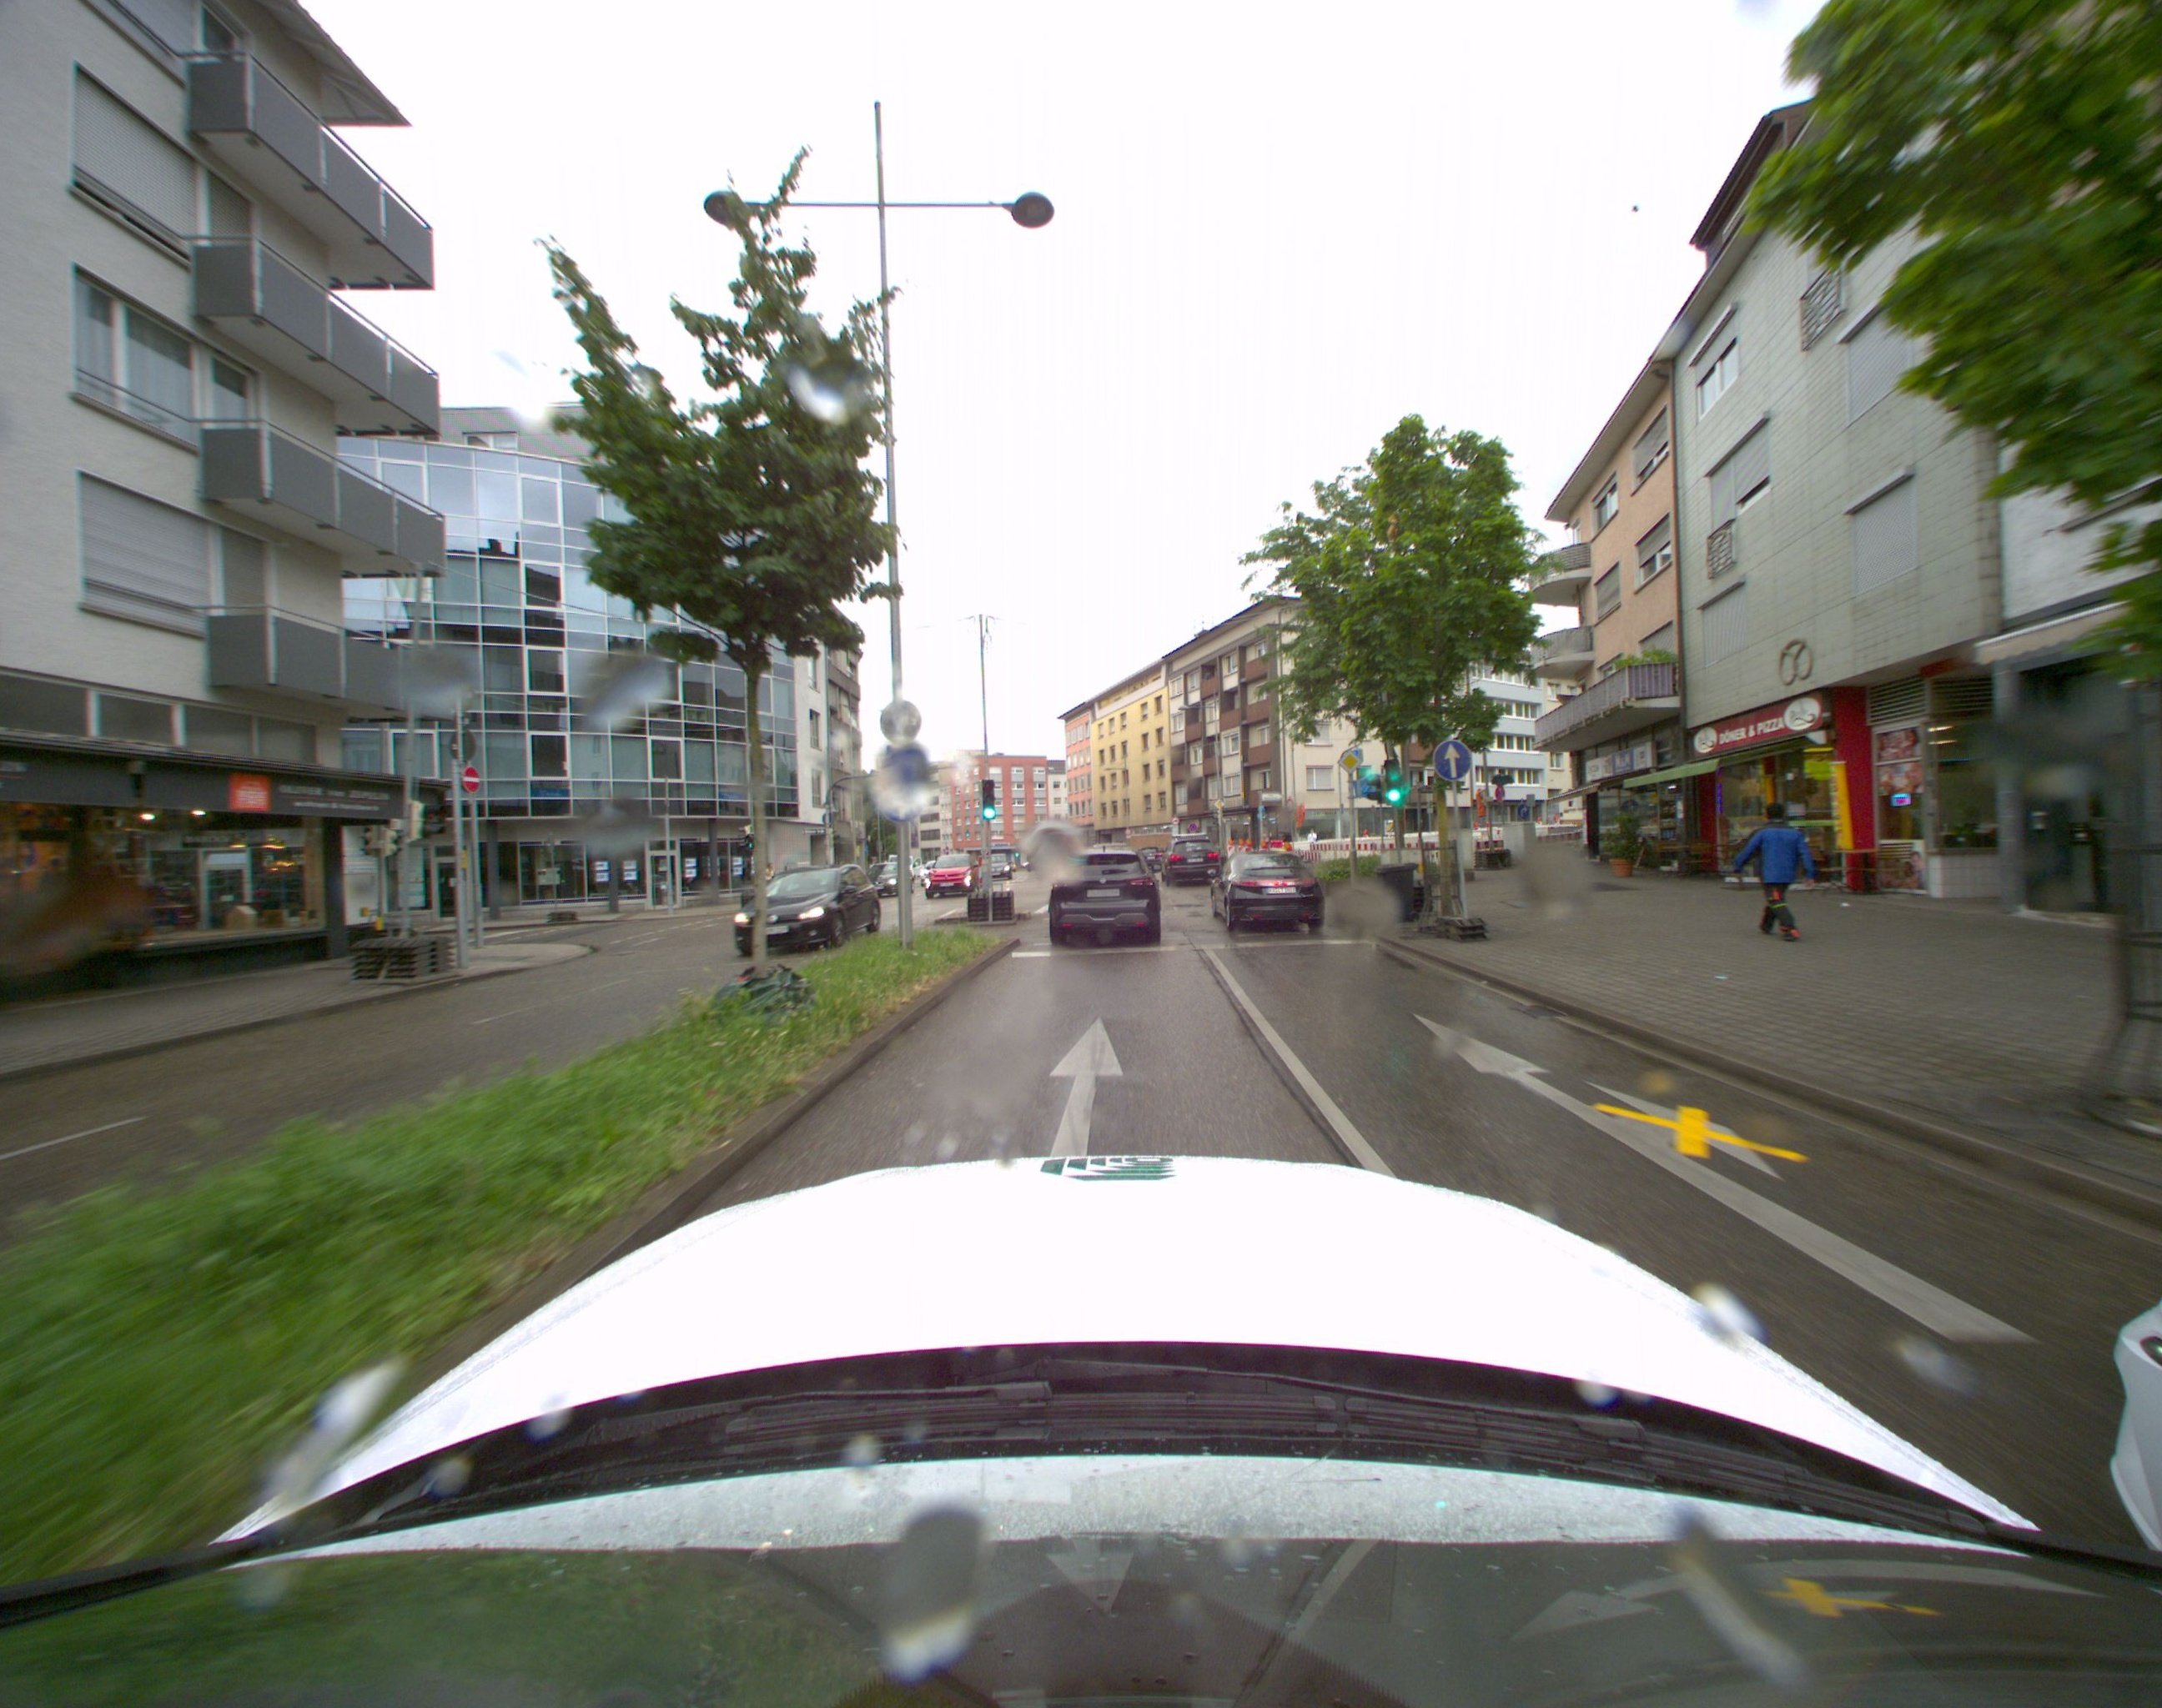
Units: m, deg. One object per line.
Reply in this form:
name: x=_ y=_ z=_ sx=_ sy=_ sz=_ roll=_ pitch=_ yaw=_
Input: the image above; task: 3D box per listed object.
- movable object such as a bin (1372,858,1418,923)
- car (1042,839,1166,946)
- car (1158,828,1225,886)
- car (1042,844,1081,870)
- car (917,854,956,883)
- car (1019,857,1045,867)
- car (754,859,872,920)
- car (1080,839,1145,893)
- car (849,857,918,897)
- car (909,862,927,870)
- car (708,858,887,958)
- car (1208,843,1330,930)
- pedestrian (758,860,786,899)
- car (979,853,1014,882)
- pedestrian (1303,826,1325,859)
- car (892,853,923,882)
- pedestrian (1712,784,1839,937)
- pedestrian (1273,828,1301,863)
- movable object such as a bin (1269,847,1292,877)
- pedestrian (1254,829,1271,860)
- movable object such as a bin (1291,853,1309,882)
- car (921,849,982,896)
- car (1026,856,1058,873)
movable object such as a bin: x=5.786 y=0.656 z=15.018 sx=0.575 sy=1.111 sz=0.667 roll=-4 pitch=1 yaw=6
car: x=0.427 y=0.590 z=14.636 sx=1.887 sy=1.629 sz=4.002 roll=-1 pitch=0 yaw=2
car: x=3.995 y=0.050 z=30.176 sx=2.012 sy=1.869 sz=4.904 roll=-2 pitch=1 yaw=3
car: x=-1.171 y=0.181 z=46.848 sx=1.990 sy=1.388 sz=4.493 roll=0 pitch=0 yaw=-4
car: x=-8.409 y=0.820 z=47.662 sx=1.769 sy=1.523 sz=4.276 roll=-3 pitch=0 yaw=-5
car: x=-8.049 y=1.292 z=134.490 sx=3.963 sy=1.486 sz=1.690 roll=-3 pitch=0 yaw=-23
car: x=-7.869 y=0.967 z=24.428 sx=1.838 sy=1.417 sz=4.616 roll=-5 pitch=1 yaw=1
car: x=1.198 y=0.394 z=29.410 sx=1.936 sy=1.684 sz=4.007 roll=-4 pitch=0 yaw=6
car: x=-8.370 y=0.940 z=34.807 sx=1.840 sy=1.497 sz=4.000 roll=-3 pitch=0 yaw=1
car: x=-30.504 y=2.263 z=152.319 sx=1.786 sy=1.401 sz=4.534 roll=-4 pitch=1 yaw=-31
car: x=-5.113 y=0.887 z=15.359 sx=1.811 sy=1.441 sz=4.157 roll=-4 pitch=1 yaw=0
car: x=3.613 y=0.564 z=16.295 sx=1.775 sy=1.496 sz=4.061 roll=-1 pitch=0 yaw=4
pedestrian: x=-13.255 y=1.092 z=34.912 sx=0.618 sy=1.607 sz=0.837 roll=-3 pitch=0 yaw=27
car: x=-5.093 y=0.785 z=49.466 sx=1.826 sy=1.543 sz=4.278 roll=-3 pitch=0 yaw=-4
pedestrian: x=13.573 y=-0.660 z=47.404 sx=0.999 sy=1.879 sz=0.649 roll=-2 pitch=-2 yaw=-44
car: x=-12.567 y=1.010 z=58.941 sx=2.121 sy=2.015 sz=5.105 roll=0 pitch=-2 yaw=-13
pedestrian: x=8.692 y=0.086 z=10.252 sx=0.958 sy=1.792 sz=0.912 roll=-5 pitch=-1 yaw=31
pedestrian: x=11.628 y=-0.493 z=45.971 sx=0.924 sy=1.861 sz=1.019 roll=-2 pitch=-2 yaw=-41
movable object such as a bin: x=7.167 y=0.292 z=29.264 sx=0.618 sy=1.031 sz=0.531 roll=-4 pitch=1 yaw=-1
pedestrian: x=10.399 y=-0.533 z=46.569 sx=0.786 sy=1.688 sz=0.825 roll=-4 pitch=-2 yaw=16
movable object such as a bin: x=7.298 y=0.445 z=27.129 sx=0.418 sy=0.929 sz=0.531 roll=-4 pitch=1 yaw=0
car: x=-4.900 y=0.666 z=31.227 sx=1.843 sy=1.594 sz=4.085 roll=-3 pitch=0 yaw=-4
car: x=-3.709 y=0.971 z=77.023 sx=1.999 sy=1.530 sz=3.976 roll=0 pitch=-1 yaw=-18
